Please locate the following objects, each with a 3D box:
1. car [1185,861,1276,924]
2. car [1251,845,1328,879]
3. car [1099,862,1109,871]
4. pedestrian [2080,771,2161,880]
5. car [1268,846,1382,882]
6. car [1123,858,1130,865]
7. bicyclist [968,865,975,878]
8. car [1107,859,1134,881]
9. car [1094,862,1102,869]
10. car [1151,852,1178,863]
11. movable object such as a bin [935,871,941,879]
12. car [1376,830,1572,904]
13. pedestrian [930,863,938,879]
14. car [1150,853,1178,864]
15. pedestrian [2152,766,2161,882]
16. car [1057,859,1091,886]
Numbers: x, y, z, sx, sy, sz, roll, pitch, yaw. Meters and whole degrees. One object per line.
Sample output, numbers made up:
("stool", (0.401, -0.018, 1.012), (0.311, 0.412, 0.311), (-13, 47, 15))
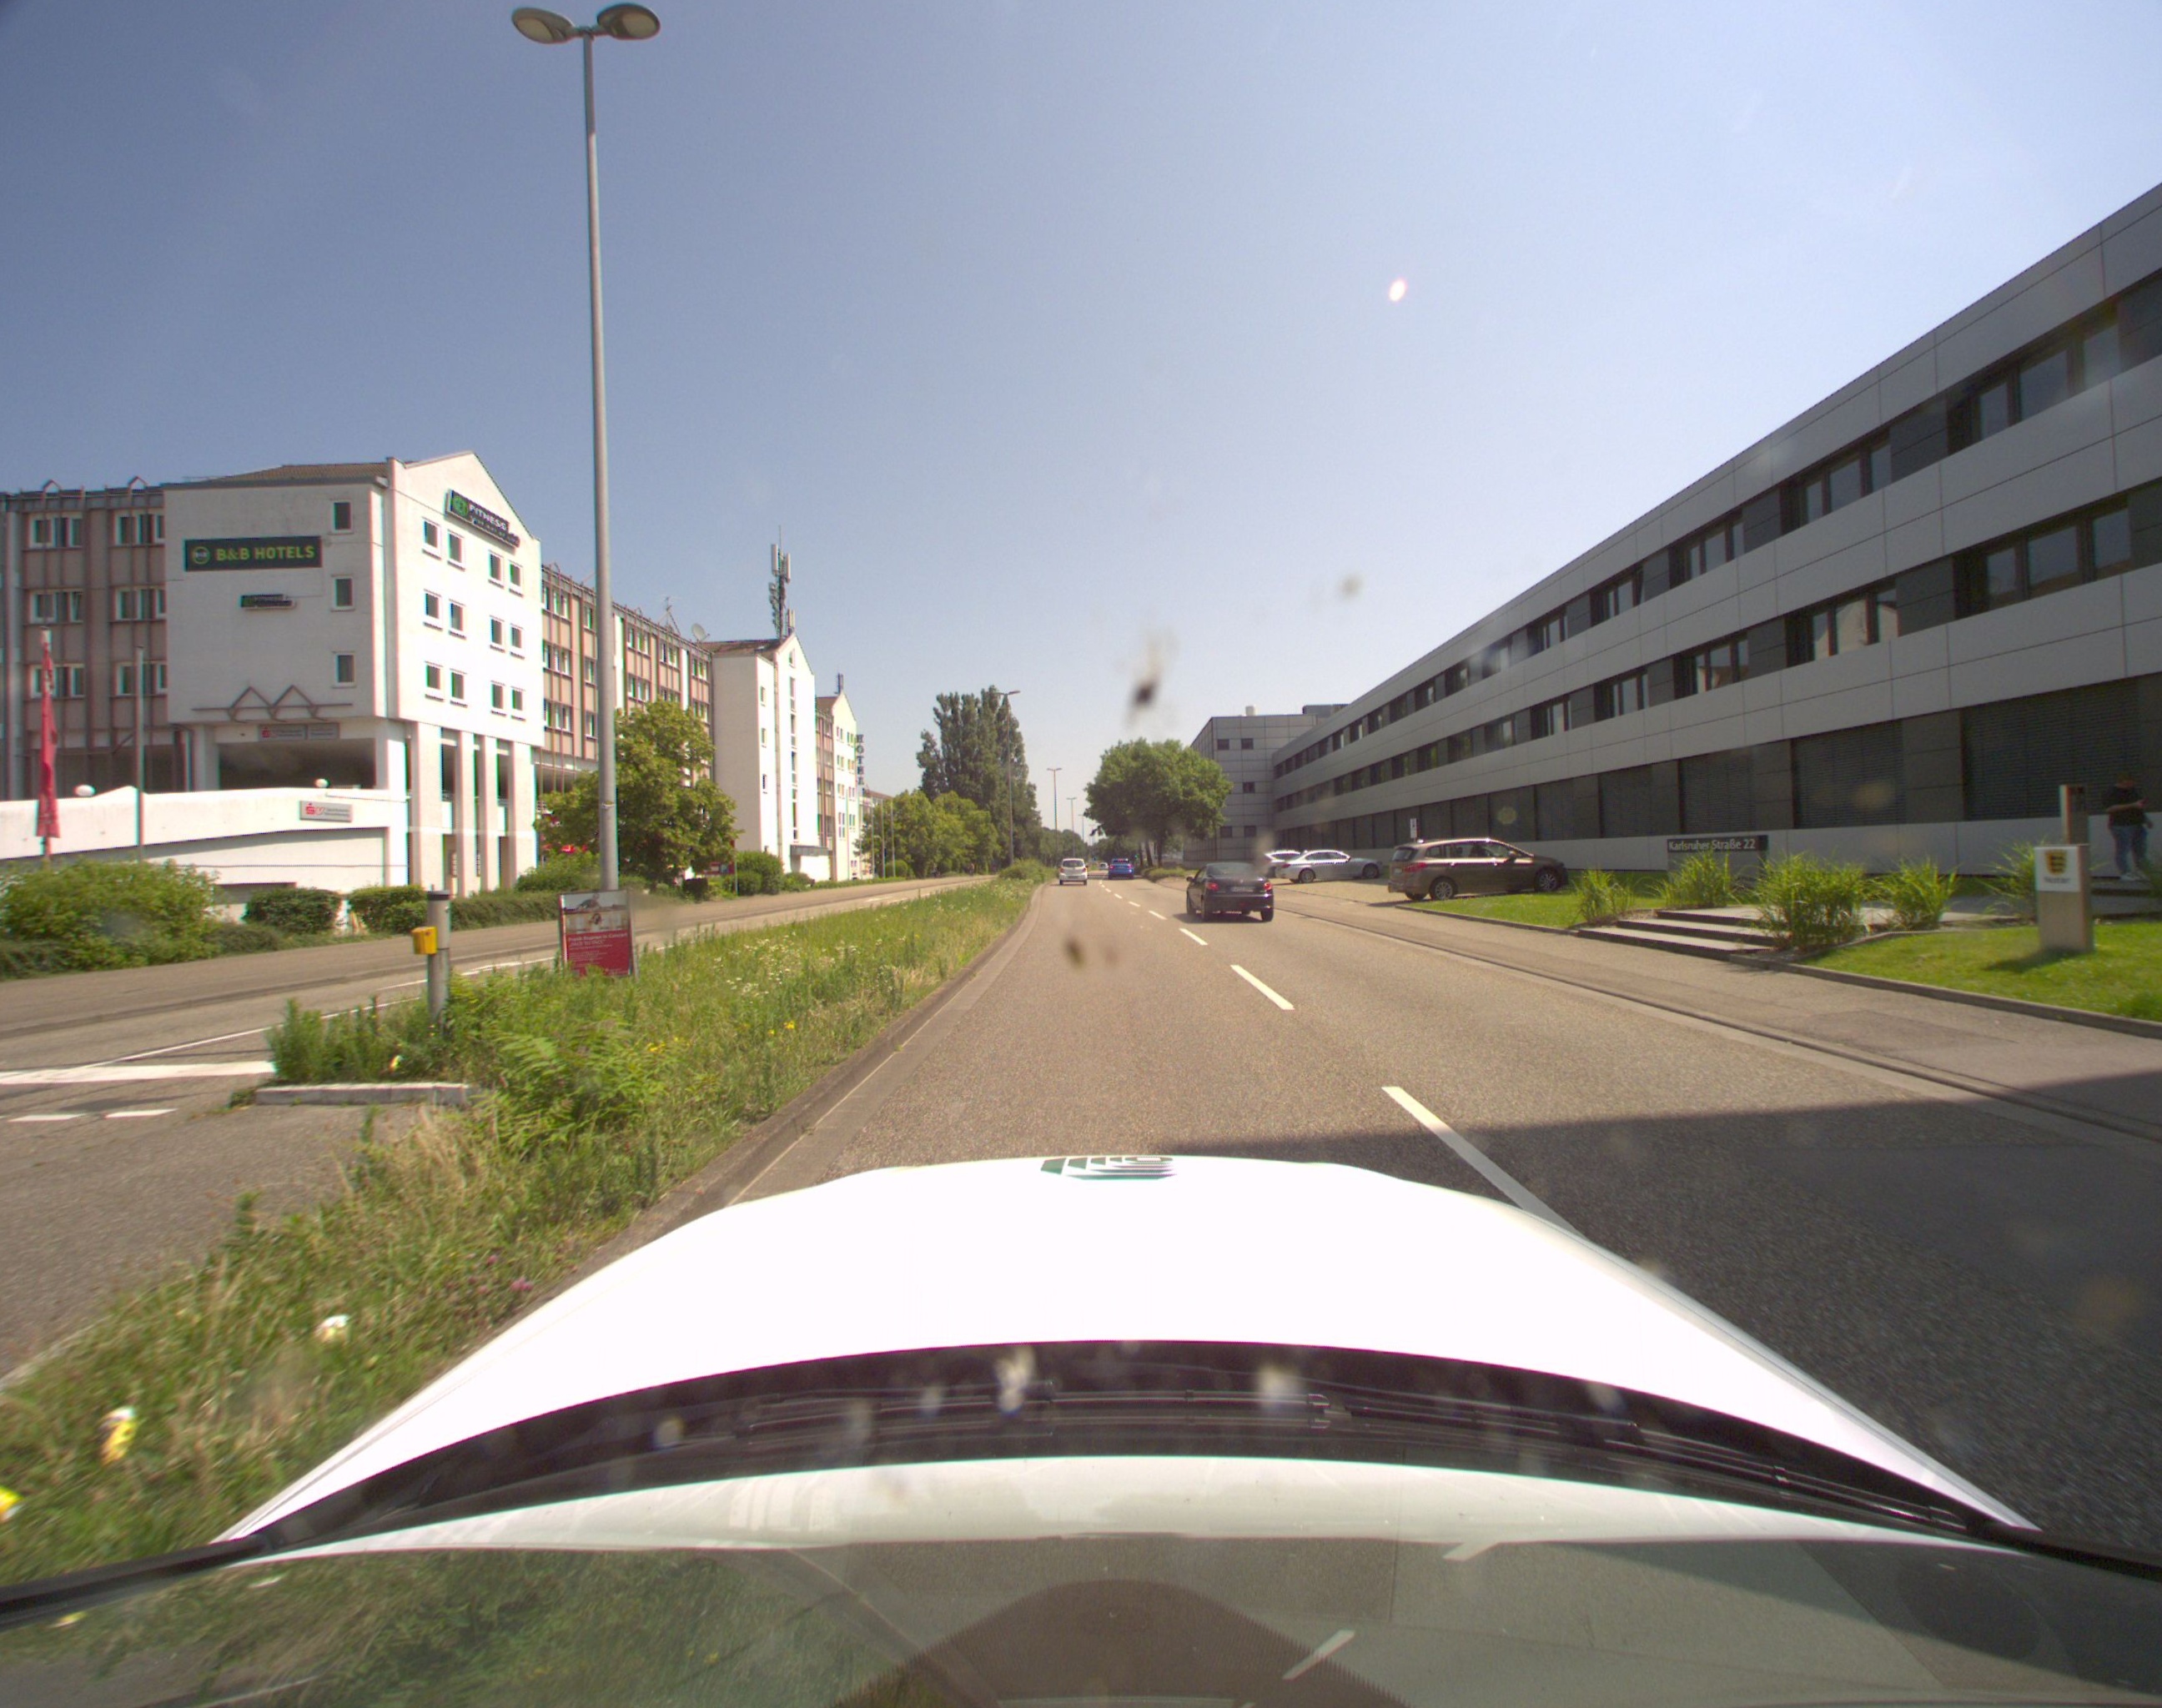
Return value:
("car", (3.598, 0.876, 20.137), (1.621, 1.364, 3.605), (-1, 0, 0))
("car", (11.784, 0.477, 46.231), (3.803, 1.592, 1.730), (-5, -1, -3))
("car", (4.623, 2.553, 164.051), (1.813, 1.662, 4.001), (-2, -1, 1))
("pedestrian", (16.284, -0.436, 12.736), (0.589, 1.634, 0.525), (-3, -1, 10))
("car", (11.196, 0.467, 37.559), (4.602, 1.390, 1.998), (-3, 0, -3))
("car", (13.837, 2.185, 246.256), (1.765, 2.013, 3.988), (-2, -1, -1))
("bicyclist", (-12.570, 2.001, 93.431), (0.715, 1.516, 1.026), (-2, -1, -2))
("car", (2.925, 1.163, 60.545), (1.822, 1.580, 3.605), (-2, 0, 0))
("car", (4.263, 3.033, 207.015), (1.815, 1.662, 3.997), (-2, 0, -2))
("car", (13.393, 0.591, 130.919), (3.976, 1.618, 1.998), (-2, -1, -2))
("movable object such as a bin", (-14.285, 2.090, 81.290), (0.425, 0.705, 0.654), (-3, -1, 10))
("car", (10.373, 0.331, 21.727), (4.249, 1.689, 1.998), (-3, 0, -3))
("pedestrian", (-14.733, 1.676, 81.600), (0.630, 1.545, 0.727), (-3, -1, 1))
("car", (13.739, 0.775, 134.745), (4.483, 1.583, 2.000), (-3, -1, 1))
("pedestrian", (15.856, -0.449, 11.466), (0.522, 1.663, 0.753), (-2, -1, -16))
("car", (-0.388, 1.050, 48.144), (1.741, 1.520, 3.749), (-1, 0, 3))
